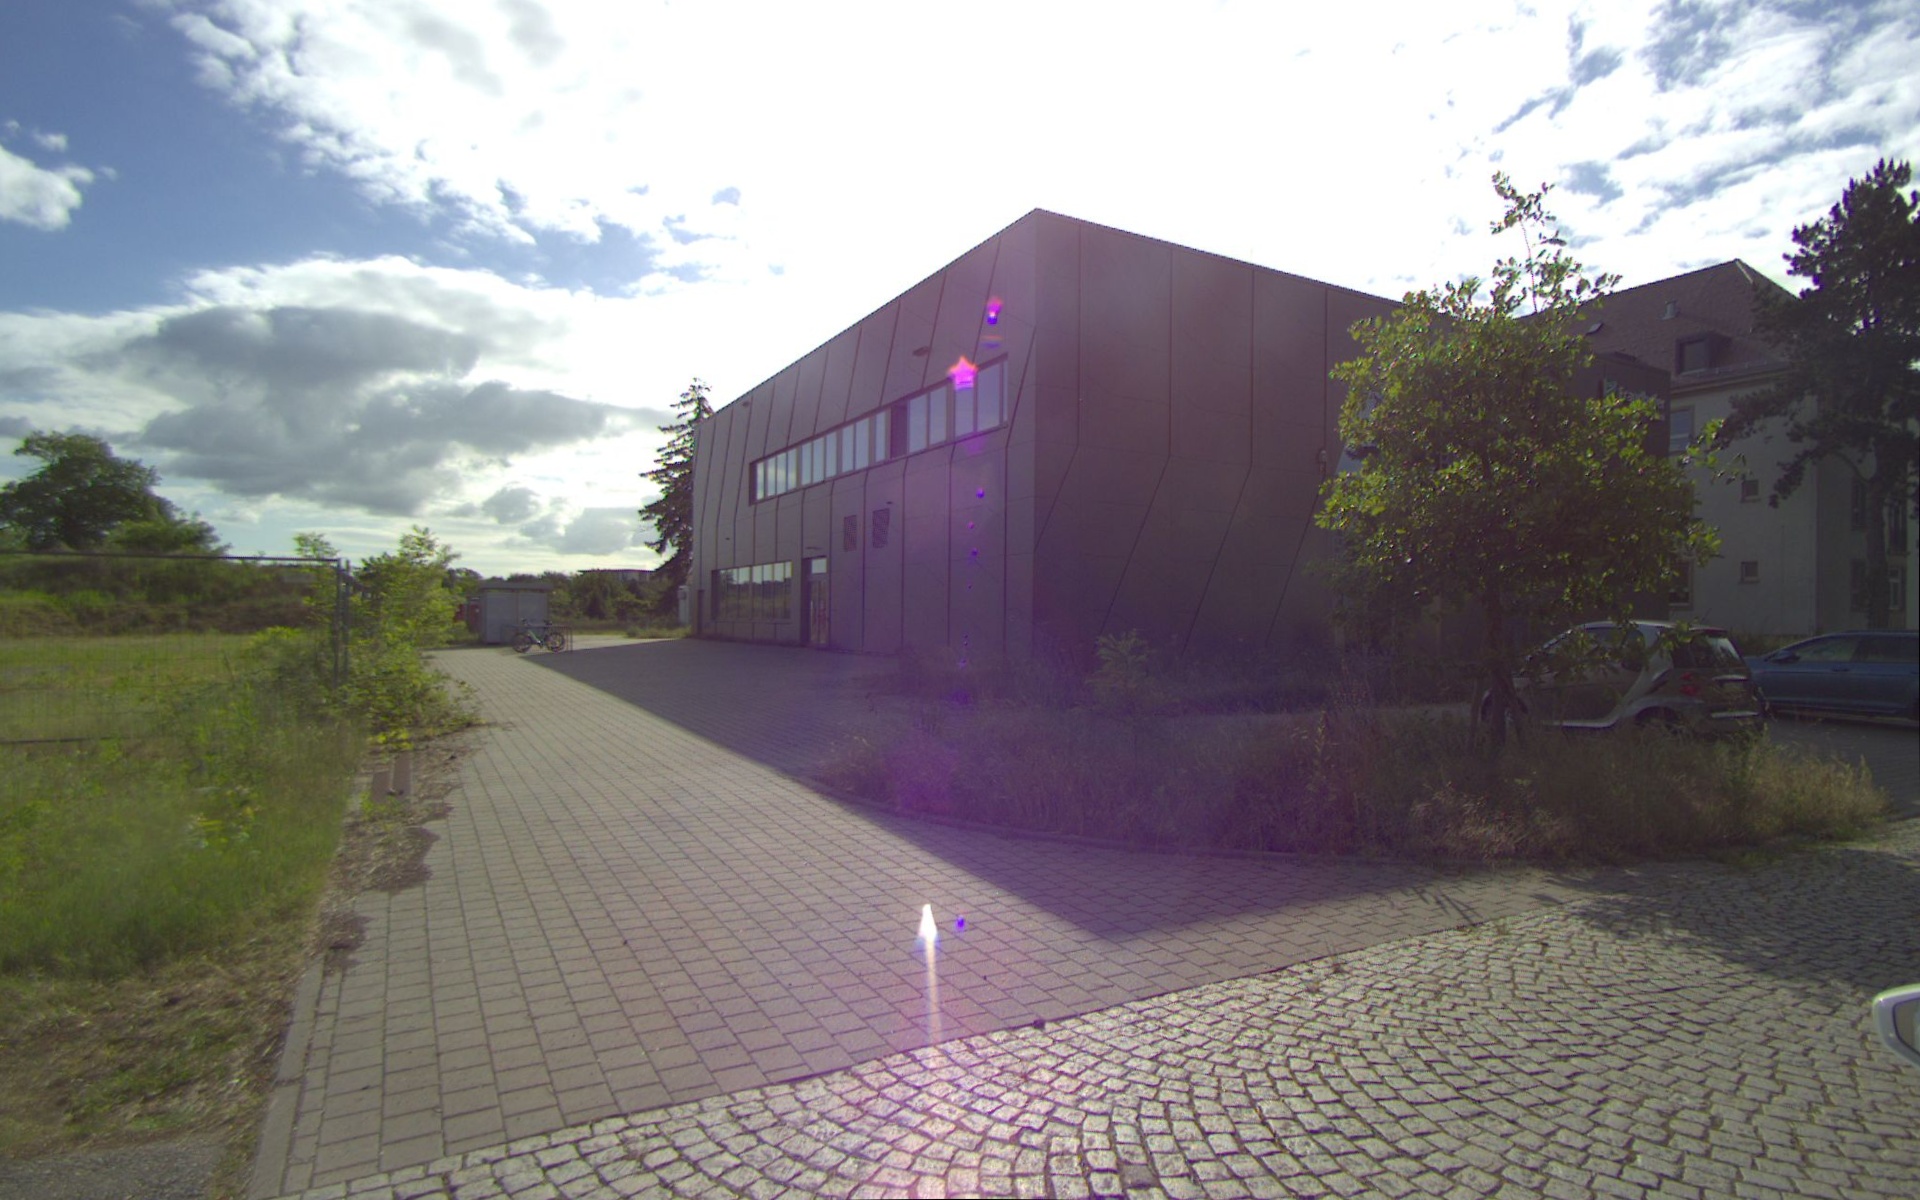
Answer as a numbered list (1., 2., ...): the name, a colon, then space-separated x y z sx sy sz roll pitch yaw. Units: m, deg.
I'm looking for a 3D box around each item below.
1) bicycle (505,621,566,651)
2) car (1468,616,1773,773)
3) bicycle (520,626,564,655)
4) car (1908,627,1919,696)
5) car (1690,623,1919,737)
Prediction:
1. bicycle: -15.109 1.273 35.721 1.942 0.982 0.837 -1 0 -27
2. car: 7.878 1.036 12.165 1.501 1.563 2.686 1 1 -30
3. bicycle: -14.065 1.352 33.785 1.339 0.912 0.515 -1 0 -27
4. car: 22.319 1.378 20.609 1.697 1.483 3.822 1 0 -27
5. car: 14.201 1.214 15.681 1.662 1.484 4.234 -1 2 -31
